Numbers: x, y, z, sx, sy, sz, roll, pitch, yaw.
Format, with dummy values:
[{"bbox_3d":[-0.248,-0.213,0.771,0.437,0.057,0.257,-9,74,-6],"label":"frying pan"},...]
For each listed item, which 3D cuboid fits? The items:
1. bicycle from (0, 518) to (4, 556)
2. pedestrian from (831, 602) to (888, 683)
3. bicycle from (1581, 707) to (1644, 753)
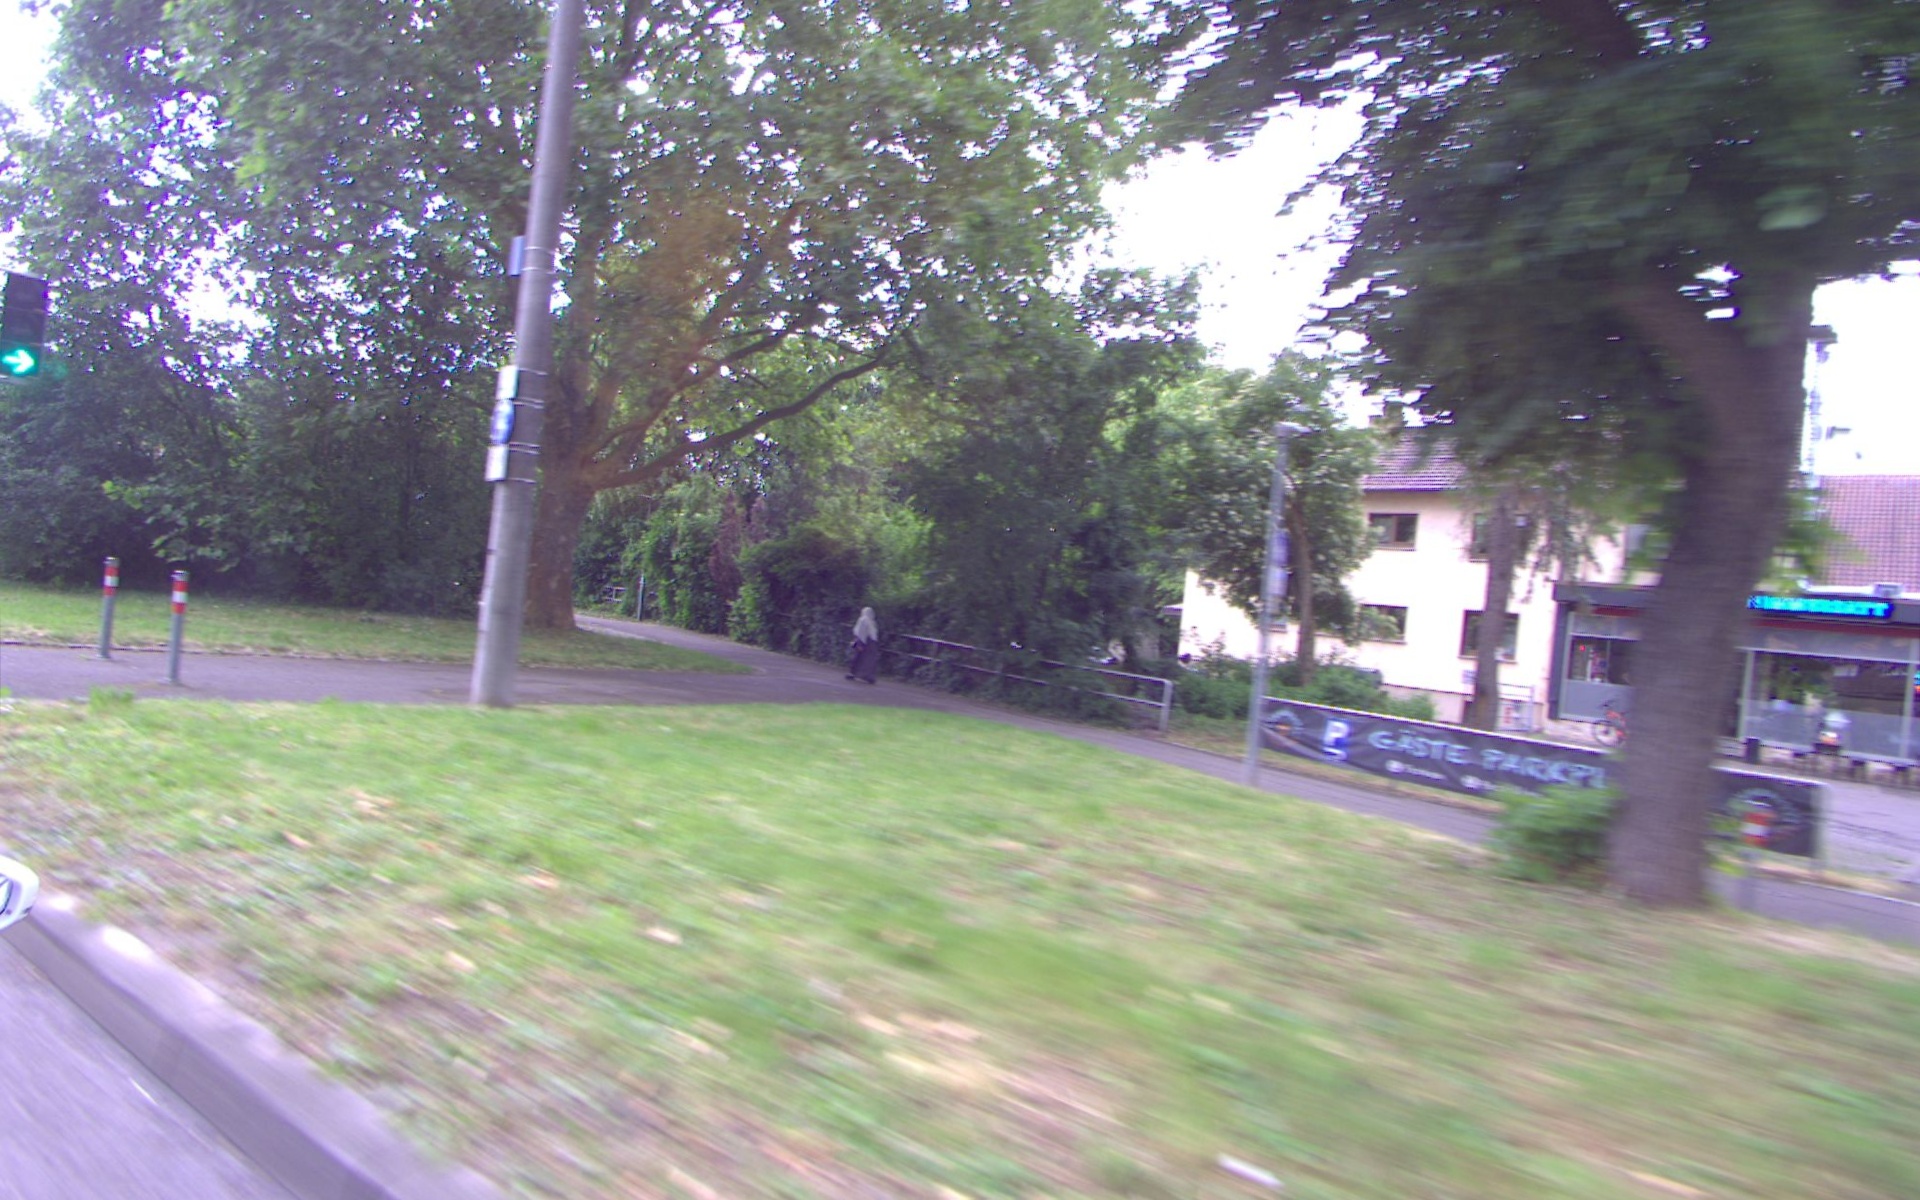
[{"bbox_3d":[-28.416,-1.889,28.548,0.572,1.124,1.775,5,-2,44],"label":"bicycle"},{"bbox_3d":[-2.057,0.870,20.531,0.731,1.570,0.683,6,0,36],"label":"pedestrian"},{"bbox_3d":[16.025,3.165,24.753,0.405,0.887,1.967,6,0,7],"label":"bicycle"}]
